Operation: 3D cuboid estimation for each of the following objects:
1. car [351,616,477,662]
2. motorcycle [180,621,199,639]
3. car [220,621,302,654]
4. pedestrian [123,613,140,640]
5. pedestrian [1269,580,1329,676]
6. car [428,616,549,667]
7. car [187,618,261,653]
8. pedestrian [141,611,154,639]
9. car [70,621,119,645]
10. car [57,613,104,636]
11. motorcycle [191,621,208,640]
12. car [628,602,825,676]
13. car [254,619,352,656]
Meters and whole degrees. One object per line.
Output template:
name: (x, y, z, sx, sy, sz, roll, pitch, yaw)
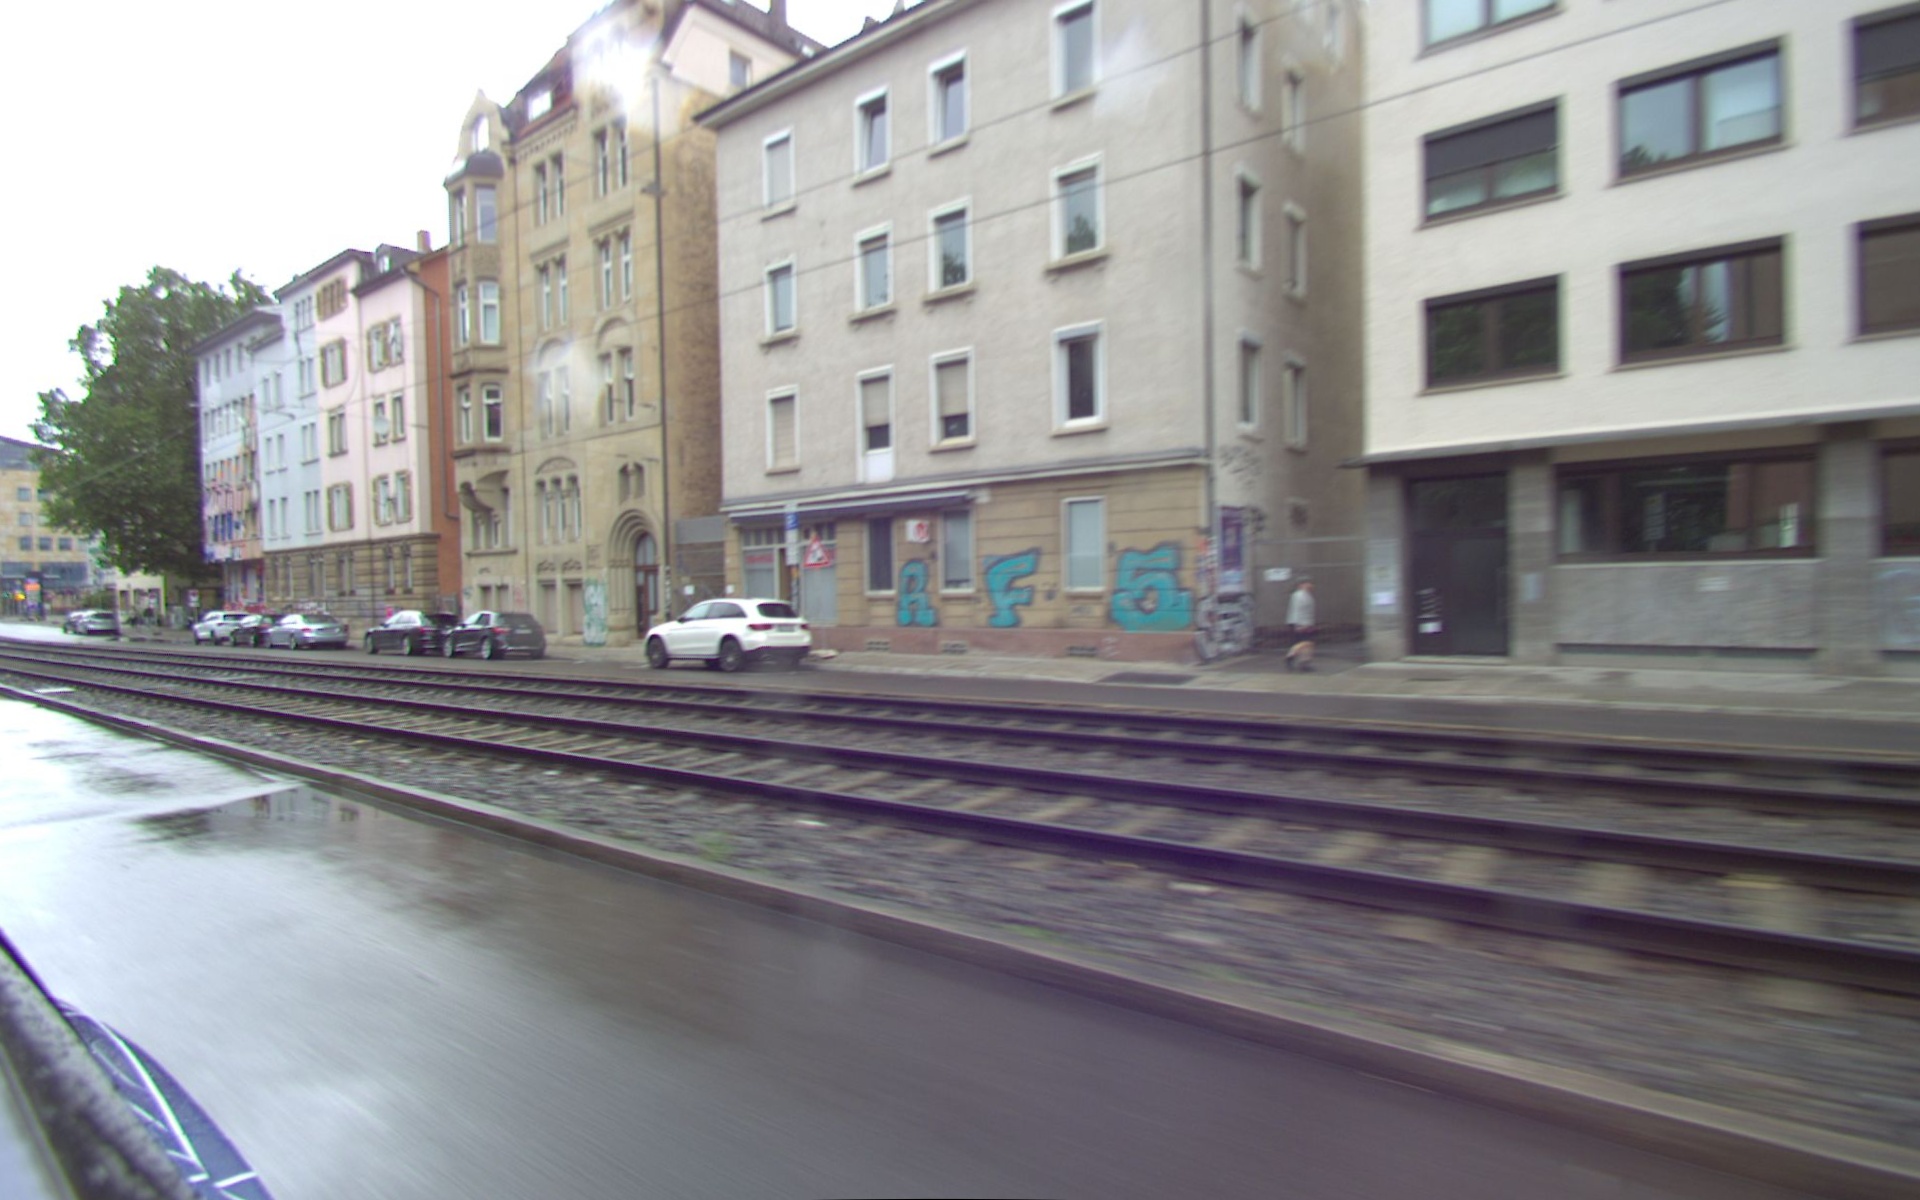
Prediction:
car: (-18.644, 1.292, 34.473, 5.016, 1.467, 1.974, -1, -3, 39)
motorcycle: (-52.355, 2.016, 68.732, 2.564, 1.154, 0.467, -1, 0, 40)
car: (-30.884, 1.623, 44.694, 4.260, 1.408, 1.820, -1, -1, 38)
pedestrian: (-57.212, 1.830, 69.890, 0.536, 1.883, 0.798, -2, -1, 43)
pedestrian: (6.013, 0.485, 17.951, 0.798, 1.624, 0.541, -1, 3, 42)
car: (-14.542, 1.248, 31.118, 4.166, 1.467, 1.719, -1, -3, 39)
car: (-35.263, 1.673, 48.454, 4.222, 1.617, 1.820, -1, -1, 38)
pedestrian: (-56.432, 1.724, 70.293, 0.536, 1.883, 0.642, -2, -1, 43)
car: (-57.134, 2.165, 66.807, 4.225, 1.553, 1.819, -1, -1, 40)
car: (-60.693, 1.694, 69.824, 4.225, 1.553, 1.819, -1, -1, 40)
motorcycle: (-50.039, 1.990, 66.582, 2.016, 1.190, 0.432, -1, 0, 40)
car: (-5.532, 0.890, 23.677, 4.744, 1.548, 1.974, -1, -3, 39)
car: (-26.847, 1.520, 41.296, 5.018, 1.408, 1.973, -1, -3, 40)
